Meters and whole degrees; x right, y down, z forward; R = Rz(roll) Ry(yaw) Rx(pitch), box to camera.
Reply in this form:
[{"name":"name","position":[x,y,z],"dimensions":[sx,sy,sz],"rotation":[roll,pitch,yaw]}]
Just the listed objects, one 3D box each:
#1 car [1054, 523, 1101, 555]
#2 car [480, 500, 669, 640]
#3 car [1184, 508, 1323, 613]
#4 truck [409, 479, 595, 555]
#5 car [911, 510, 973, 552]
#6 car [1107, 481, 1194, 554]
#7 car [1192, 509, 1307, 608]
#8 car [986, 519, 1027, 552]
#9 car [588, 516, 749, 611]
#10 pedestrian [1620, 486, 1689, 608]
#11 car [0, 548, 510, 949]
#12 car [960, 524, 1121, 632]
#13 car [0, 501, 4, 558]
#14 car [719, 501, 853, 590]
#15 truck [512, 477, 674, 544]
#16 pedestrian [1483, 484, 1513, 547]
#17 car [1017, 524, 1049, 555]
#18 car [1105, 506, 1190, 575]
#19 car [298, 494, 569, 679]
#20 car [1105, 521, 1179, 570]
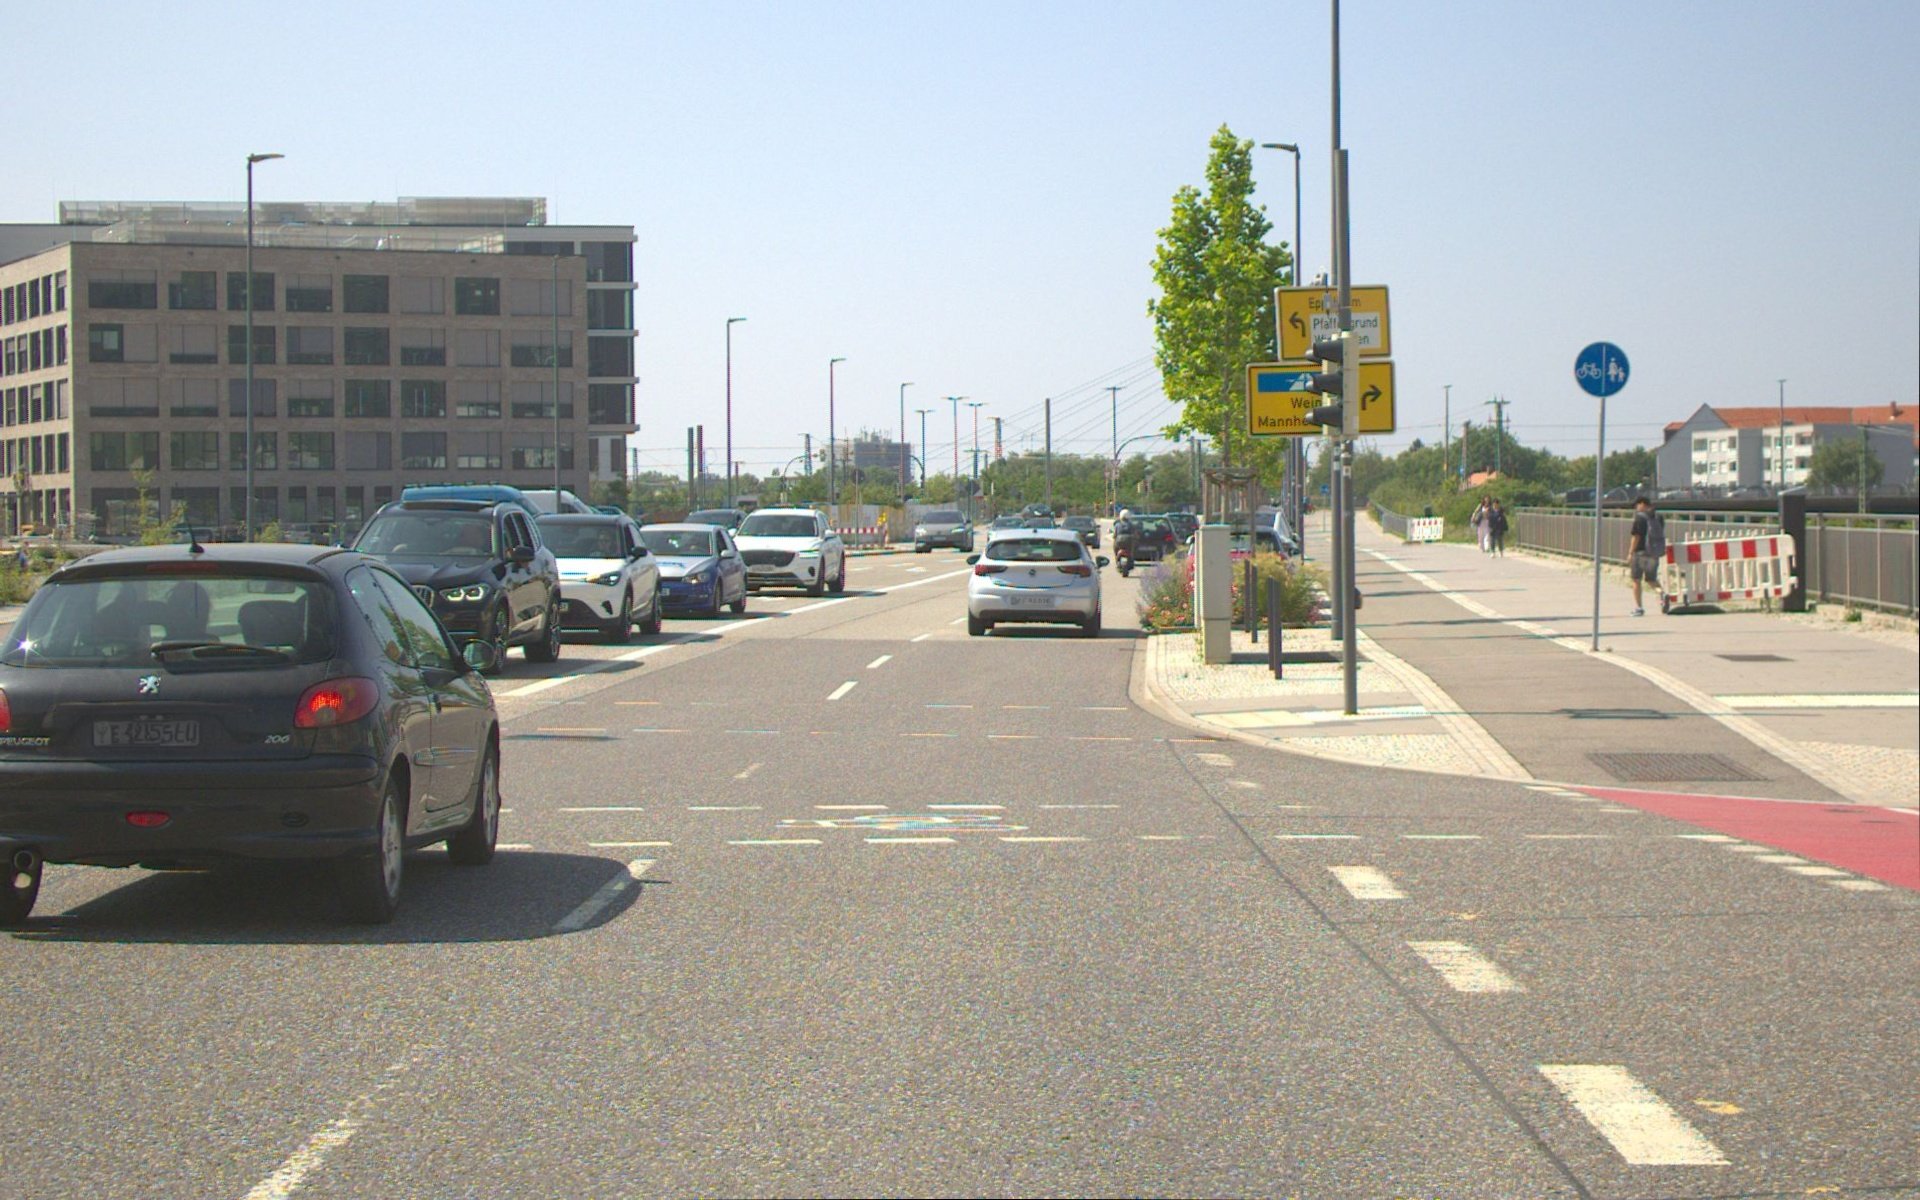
[{"name":"car","position":[5.372,-2.794,156.524],"dimensions":[1.788,1.393,4.571],"rotation":[0,2,6]},{"name":"car","position":[-4.960,-0.429,44.728],"dimensions":[1.778,1.676,4.099],"rotation":[-1,2,3]},{"name":"car","position":[4.430,-0.609,51.867],"dimensions":[1.994,1.514,3.999],"rotation":[0,1,5]},{"name":"truck","position":[-15.810,-2.866,118.978],"dimensions":[6.005,2.534,2.275],"rotation":[-1,1,4]},{"name":"car","position":[-0.621,-2.504,124.766],"dimensions":[1.894,1.410,3.597],"rotation":[1,0,5]},{"name":"car","position":[4.640,-2.009,84.161],"dimensions":[1.793,1.744,4.000],"rotation":[0,1,-1]},{"name":"car","position":[4.934,-0.726,58.775],"dimensions":[1.872,1.621,4.876],"rotation":[0,1,4]},{"name":"car","position":[2.122,-2.919,156.297],"dimensions":[1.794,1.411,4.000],"rotation":[1,0,1]},{"name":"car","position":[-4.501,-0.587,53.702],"dimensions":[1.786,1.416,4.281],"rotation":[0,1,5]},{"name":"pedestrian","position":[9.457,-0.730,46.835],"dimensions":[0.751,1.603,0.949],"rotation":[-3,1,5]},{"name":"car","position":[-2.896,0.500,14.082],"dimensions":[1.619,1.411,3.727],"rotation":[0,1,0]},{"name":"car","position":[1.162,-0.329,47.723],"dimensions":[1.778,1.437,3.999],"rotation":[0,1,8]},{"name":"car","position":[-33.124,-2.374,114.346],"dimensions":[1.993,1.842,4.001],"rotation":[0,2,-24]},{"name":"car","position":[-3.304,-1.057,66.098],"dimensions":[1.913,1.644,4.730],"rotation":[0,1,5]},{"name":"truck","position":[-13.439,-3.274,126.255],"dimensions":[5.567,2.354,2.275],"rotation":[-1,1,4]},{"name":"pedestrian","position":[14.629,-2.303,93.534],"dimensions":[0.732,1.699,0.651],"rotation":[1,0,6]},{"name":"car","position":[3.769,-3.115,177.800],"dimensions":[1.579,1.557,3.673],"rotation":[1,0,1]},{"name":"car","position":[4.580,-1.431,83.703],"dimensions":[1.778,1.563,3.999],"rotation":[1,0,7]},{"name":"car","position":[-5.502,-0.208,36.509],"dimensions":[1.939,1.782,4.655],"rotation":[1,2,3]},{"name":"car","position":[5.118,-1.536,97.093],"dimensions":[1.632,1.306,4.000],"rotation":[1,0,-3]}]
